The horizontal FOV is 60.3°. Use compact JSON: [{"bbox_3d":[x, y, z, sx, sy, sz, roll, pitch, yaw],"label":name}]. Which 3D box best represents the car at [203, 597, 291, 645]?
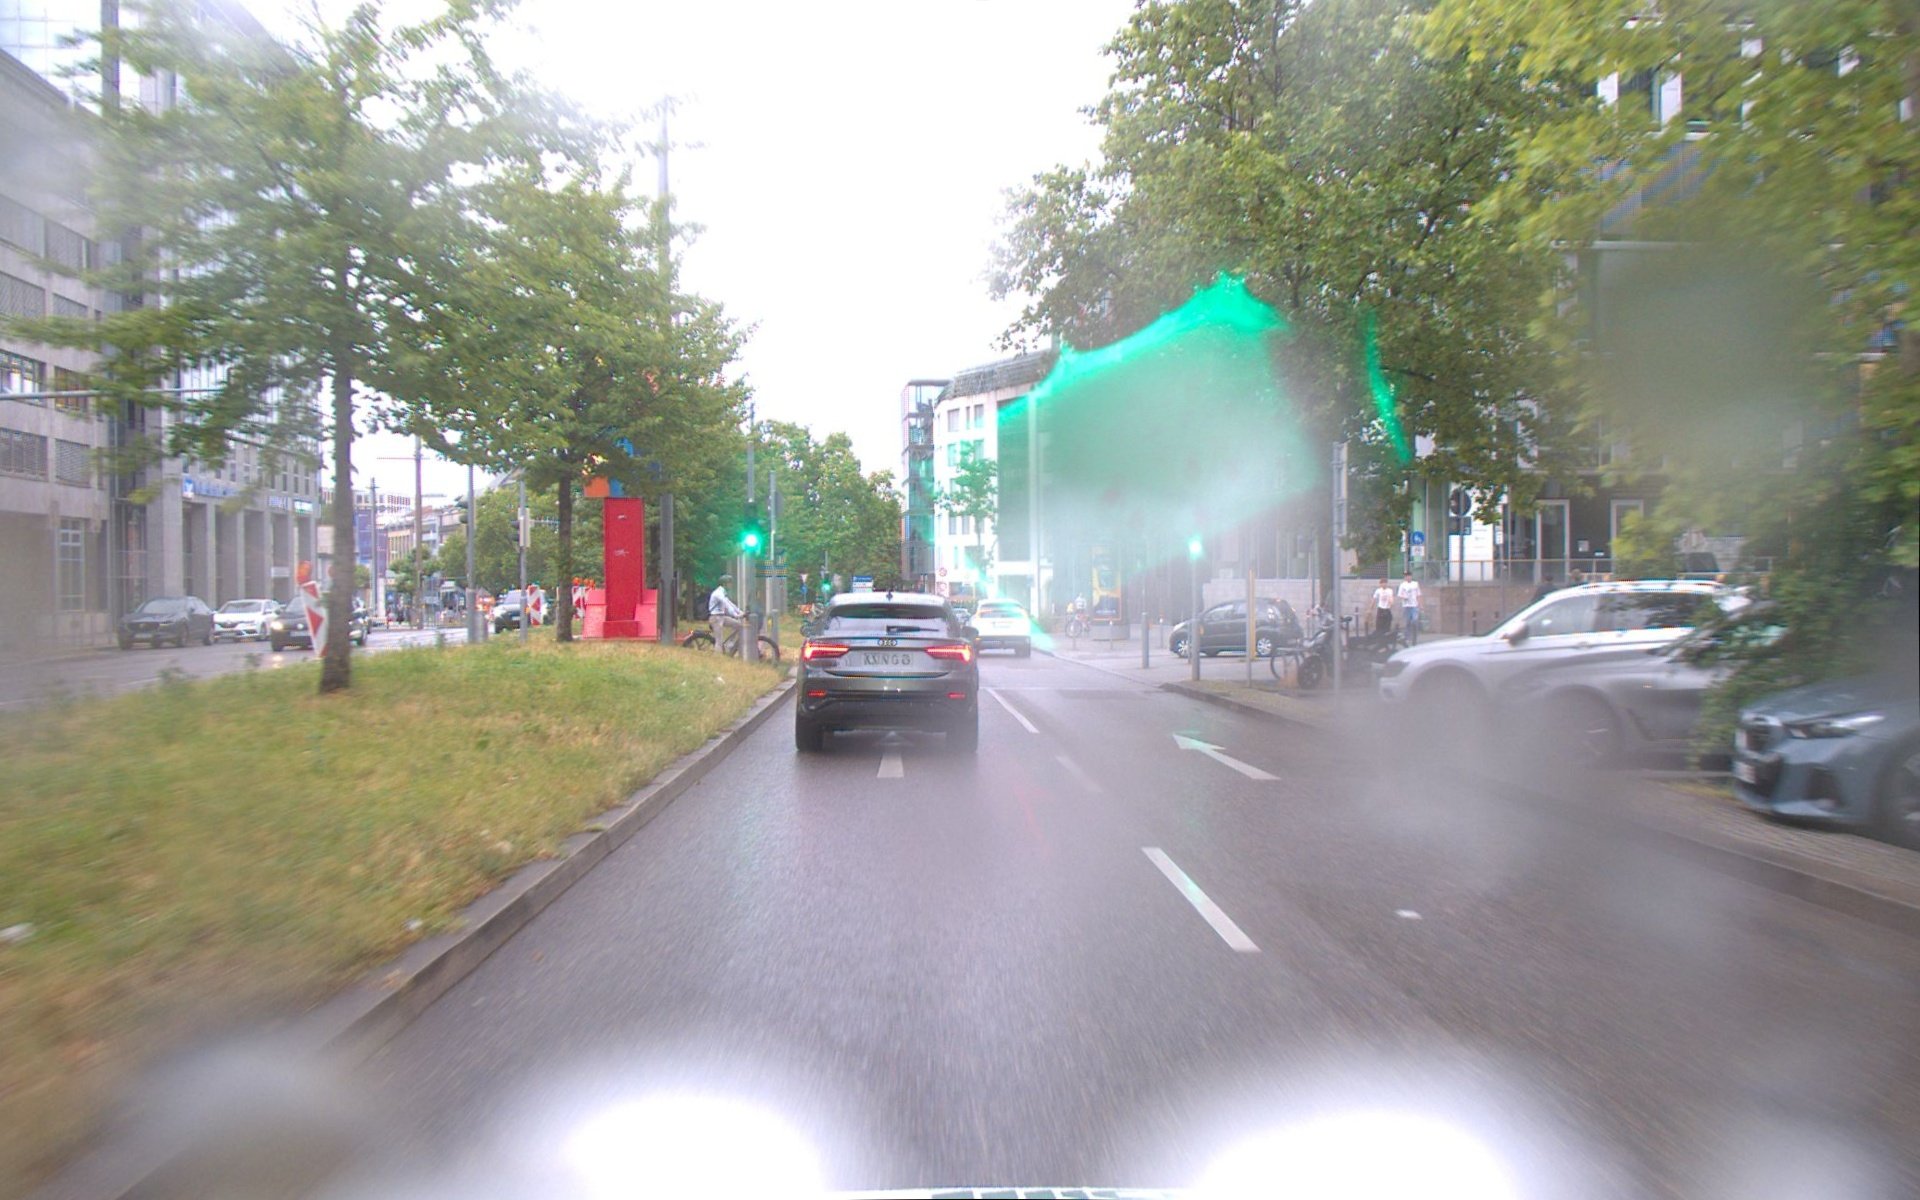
[{"bbox_3d":[-24.819,0.721,57.694,1.775,1.575,3.992,-1,0,-8],"label":"car"}]

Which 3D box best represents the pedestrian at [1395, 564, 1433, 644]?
[{"bbox_3d":[12.351,0.110,45.006,0.916,2.152,1.076,1,-1,11],"label":"pedestrian"}]

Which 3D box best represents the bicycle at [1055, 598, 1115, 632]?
[{"bbox_3d":[4.963,0.603,65.615,2.293,1.335,0.709,0,0,-8],"label":"bicycle"}]

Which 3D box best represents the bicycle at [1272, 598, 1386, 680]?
[{"bbox_3d":[6.611,0.693,29.697,1.940,1.440,0.726,1,-1,8],"label":"bicycle"}]

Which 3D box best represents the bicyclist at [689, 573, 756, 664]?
[{"bbox_3d":[-4.464,0.353,31.208,1.082,1.650,0.750,3,-1,-1],"label":"bicyclist"}]

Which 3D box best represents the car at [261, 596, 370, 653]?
[{"bbox_3d":[-16.748,0.601,43.182,1.772,1.333,3.992,-2,1,-9],"label":"car"}]

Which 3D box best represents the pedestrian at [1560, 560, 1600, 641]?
[{"bbox_3d":[14.326,0.015,38.217,0.651,1.814,0.920,-4,-1,15],"label":"pedestrian"}]

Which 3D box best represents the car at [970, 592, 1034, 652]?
[{"bbox_3d":[1.231,0.634,49.720,1.811,1.698,4.038,0,0,0],"label":"car"}]

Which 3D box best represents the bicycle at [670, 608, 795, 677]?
[{"bbox_3d":[-4.281,0.792,31.202,2.209,1.182,0.750,3,-1,-1],"label":"bicycle"}]

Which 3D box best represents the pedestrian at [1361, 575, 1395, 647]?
[{"bbox_3d":[11.415,0.313,45.172,0.848,1.937,0.886,1,-1,11],"label":"pedestrian"}]

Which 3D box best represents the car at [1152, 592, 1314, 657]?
[{"bbox_3d":[6.931,0.603,42.193,3.795,1.595,1.658,0,-1,42],"label":"car"}]

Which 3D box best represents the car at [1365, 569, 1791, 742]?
[{"bbox_3d":[6.699,0.567,17.983,4.135,1.698,1.837,-1,0,27],"label":"car"}]

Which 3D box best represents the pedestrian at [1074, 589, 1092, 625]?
[{"bbox_3d":[7.216,0.413,97.077,0.838,2.049,0.975,1,-1,-6],"label":"pedestrian"}]

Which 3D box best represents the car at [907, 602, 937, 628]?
[{"bbox_3d":[-2.413,0.940,105.439,1.811,1.550,4.038,0,0,0],"label":"car"}]

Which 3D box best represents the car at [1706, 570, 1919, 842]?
[{"bbox_3d":[7.227,0.568,9.990,4.673,1.560,1.871,-1,0,14],"label":"car"}]

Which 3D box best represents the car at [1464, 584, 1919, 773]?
[{"bbox_3d":[6.904,0.650,14.917,4.212,1.515,1.840,-1,0,29],"label":"car"}]

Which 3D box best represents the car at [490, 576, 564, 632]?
[{"bbox_3d":[-15.310,0.111,58.680,1.956,1.858,3.994,-2,1,-7],"label":"car"}]

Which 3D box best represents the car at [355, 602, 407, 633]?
[{"bbox_3d":[-30.260,0.910,86.508,1.775,1.575,3.992,-1,0,-8],"label":"car"}]

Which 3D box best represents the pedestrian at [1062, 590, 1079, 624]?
[{"bbox_3d":[6.552,0.415,98.224,0.838,2.049,0.975,1,-1,-6],"label":"pedestrian"}]

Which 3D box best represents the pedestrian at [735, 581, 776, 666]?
[{"bbox_3d":[-4.423,0.509,35.810,0.647,1.825,0.751,1,-1,12],"label":"pedestrian"}]

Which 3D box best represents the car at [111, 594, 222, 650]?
[{"bbox_3d":[-23.966,0.650,50.116,1.840,1.563,4.069,-1,0,-8],"label":"car"}]

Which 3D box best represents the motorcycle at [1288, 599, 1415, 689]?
[{"bbox_3d":[6.498,0.727,27.503,1.985,1.440,0.726,1,-1,8],"label":"motorcycle"}]

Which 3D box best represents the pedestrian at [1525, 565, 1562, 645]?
[{"bbox_3d":[13.684,0.124,38.803,0.626,1.814,0.771,-4,-1,15],"label":"pedestrian"}]

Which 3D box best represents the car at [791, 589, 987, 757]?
[{"bbox_3d":[-0.685,0.669,17.458,1.812,1.550,4.038,0,0,-1],"label":"car"}]

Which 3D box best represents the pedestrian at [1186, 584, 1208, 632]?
[{"bbox_3d":[10.805,0.380,75.437,0.916,2.152,1.076,1,-1,11],"label":"pedestrian"}]

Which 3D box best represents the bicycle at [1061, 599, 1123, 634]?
[{"bbox_3d":[5.099,0.627,63.735,2.293,1.335,0.709,0,0,-8],"label":"bicycle"}]
